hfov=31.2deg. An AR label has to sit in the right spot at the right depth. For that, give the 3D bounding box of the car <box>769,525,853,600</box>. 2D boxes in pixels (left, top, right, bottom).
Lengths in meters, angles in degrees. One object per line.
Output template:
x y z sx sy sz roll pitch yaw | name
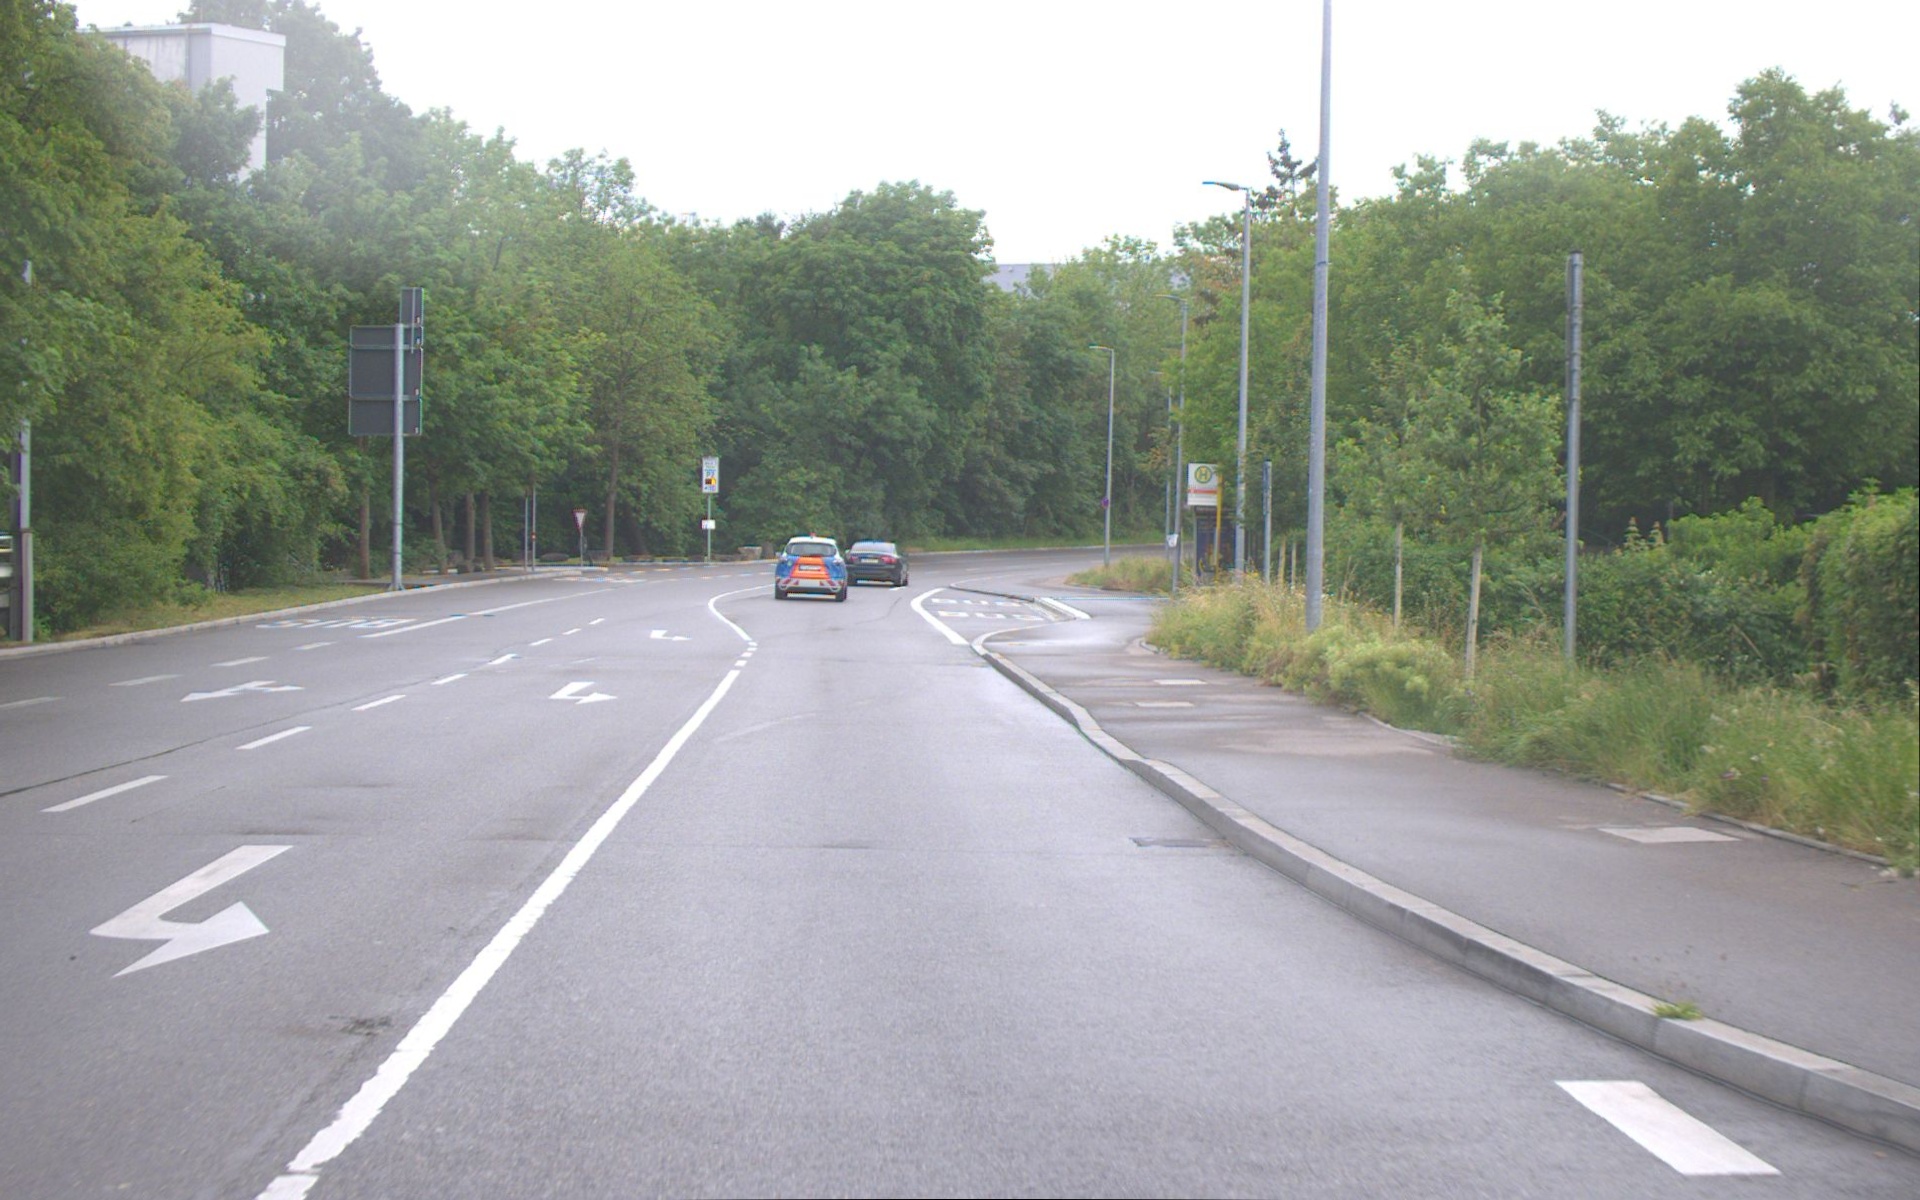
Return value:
-3.684 -0.959 85.680 1.993 1.683 4.001 0 3 -1 | car

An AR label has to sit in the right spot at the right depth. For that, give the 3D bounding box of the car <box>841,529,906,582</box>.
-2.643 -1.392 105.718 1.927 1.481 3.800 0 3 -1 | car
